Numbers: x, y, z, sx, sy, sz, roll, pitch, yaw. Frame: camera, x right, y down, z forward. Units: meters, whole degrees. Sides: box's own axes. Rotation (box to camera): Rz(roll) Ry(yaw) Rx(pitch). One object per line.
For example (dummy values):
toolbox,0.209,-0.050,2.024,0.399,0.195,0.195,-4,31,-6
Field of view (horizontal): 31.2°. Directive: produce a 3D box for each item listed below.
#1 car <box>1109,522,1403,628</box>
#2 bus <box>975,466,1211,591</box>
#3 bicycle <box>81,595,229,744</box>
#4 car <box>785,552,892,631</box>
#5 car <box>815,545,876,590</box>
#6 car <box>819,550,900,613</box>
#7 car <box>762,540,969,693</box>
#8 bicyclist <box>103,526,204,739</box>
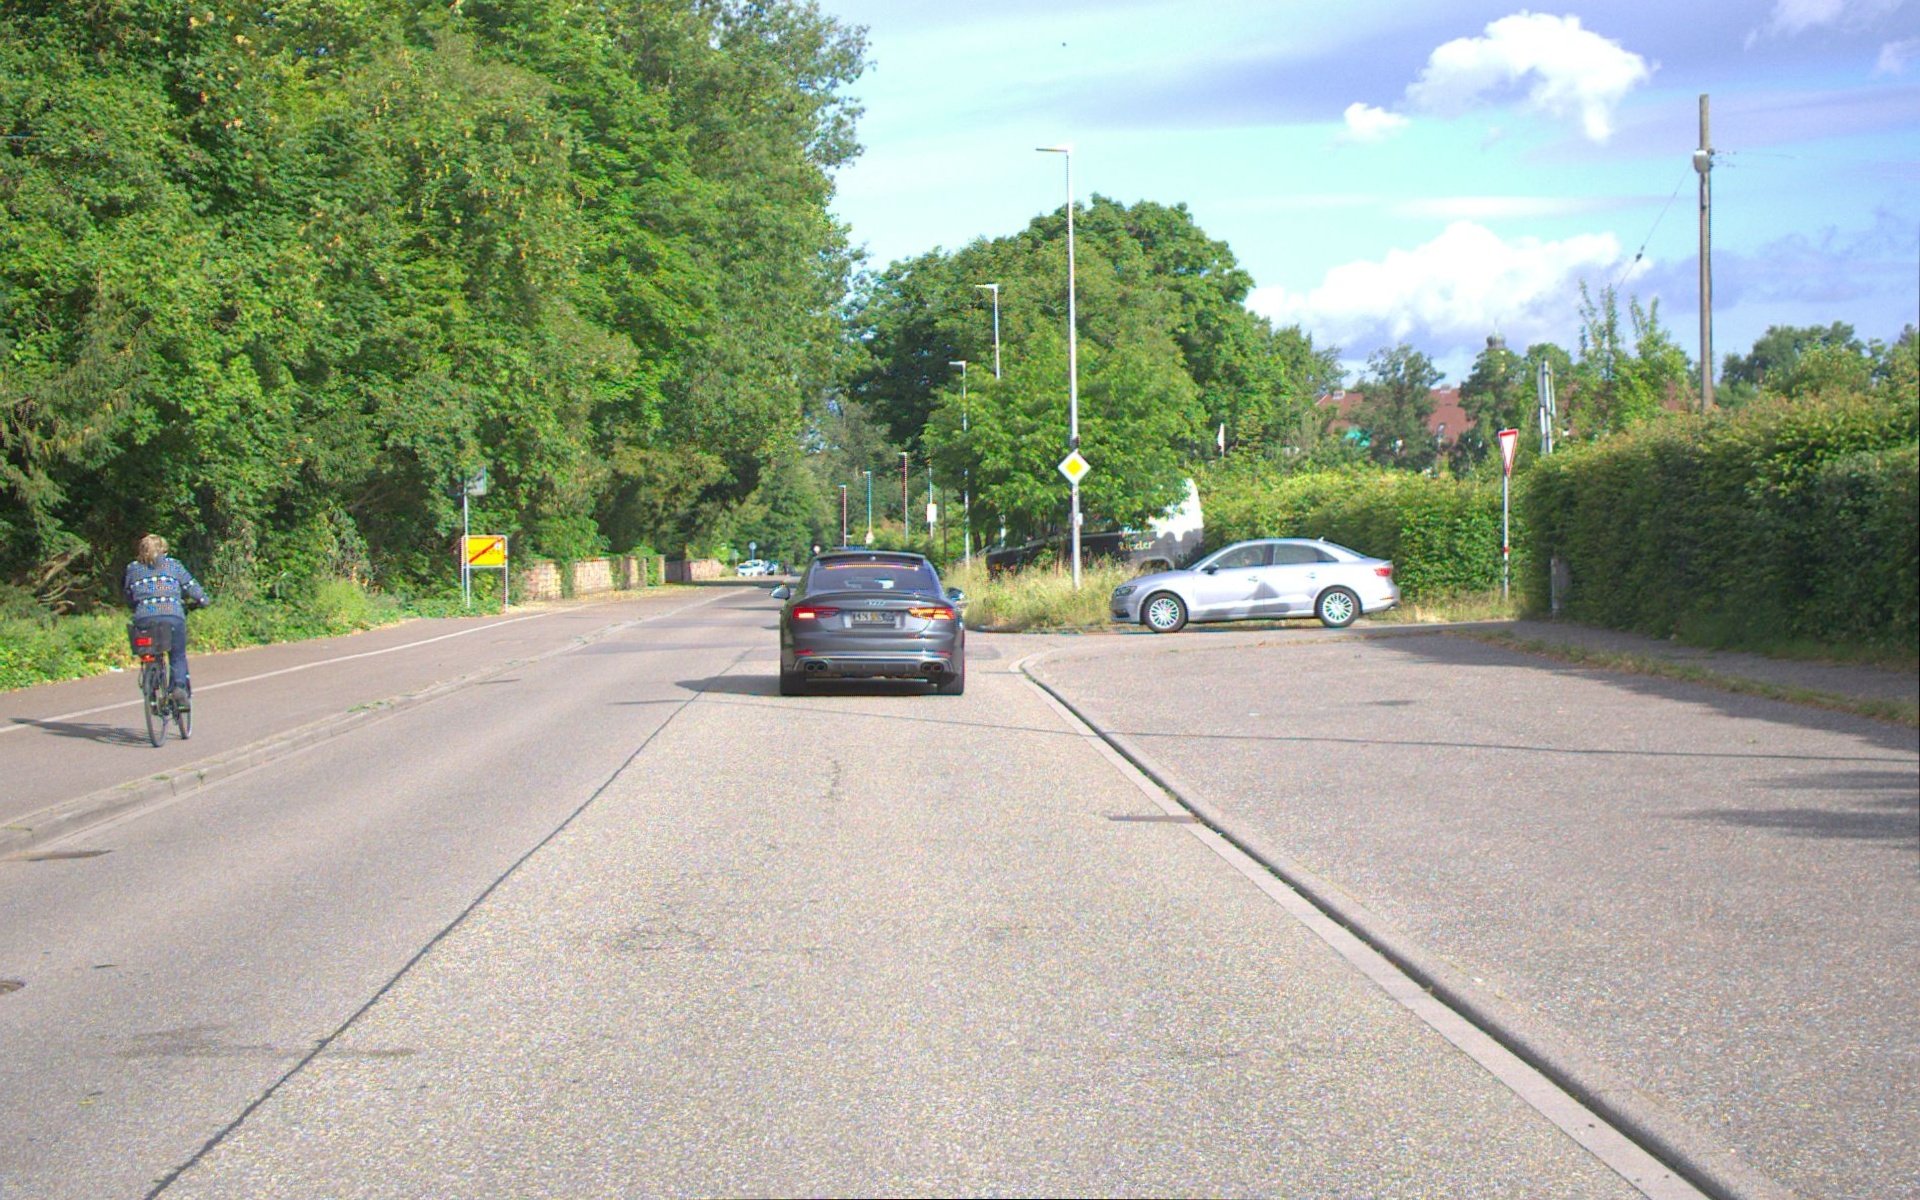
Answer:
car,4.535,-0.390,52.776,4.363,1.438,1.932,-2,1,5
bus,3.178,-1.731,82.746,5.364,2.737,2.069,-3,2,-4
bicycle,-6.438,0.533,27.593,0.662,1.093,2.349,1,1,-1
car,-2.266,-0.177,63.574,1.886,1.367,4.055,-1,1,-2
car,-3.685,-1.061,110.213,1.886,1.367,4.055,-1,1,-2
car,-2.487,-0.469,84.322,1.886,1.460,4.055,-1,1,-2
car,-0.931,0.117,34.975,1.966,1.429,4.336,0,1,-1
bicyclist,-6.452,0.247,27.531,0.608,1.671,0.884,0,1,-1
